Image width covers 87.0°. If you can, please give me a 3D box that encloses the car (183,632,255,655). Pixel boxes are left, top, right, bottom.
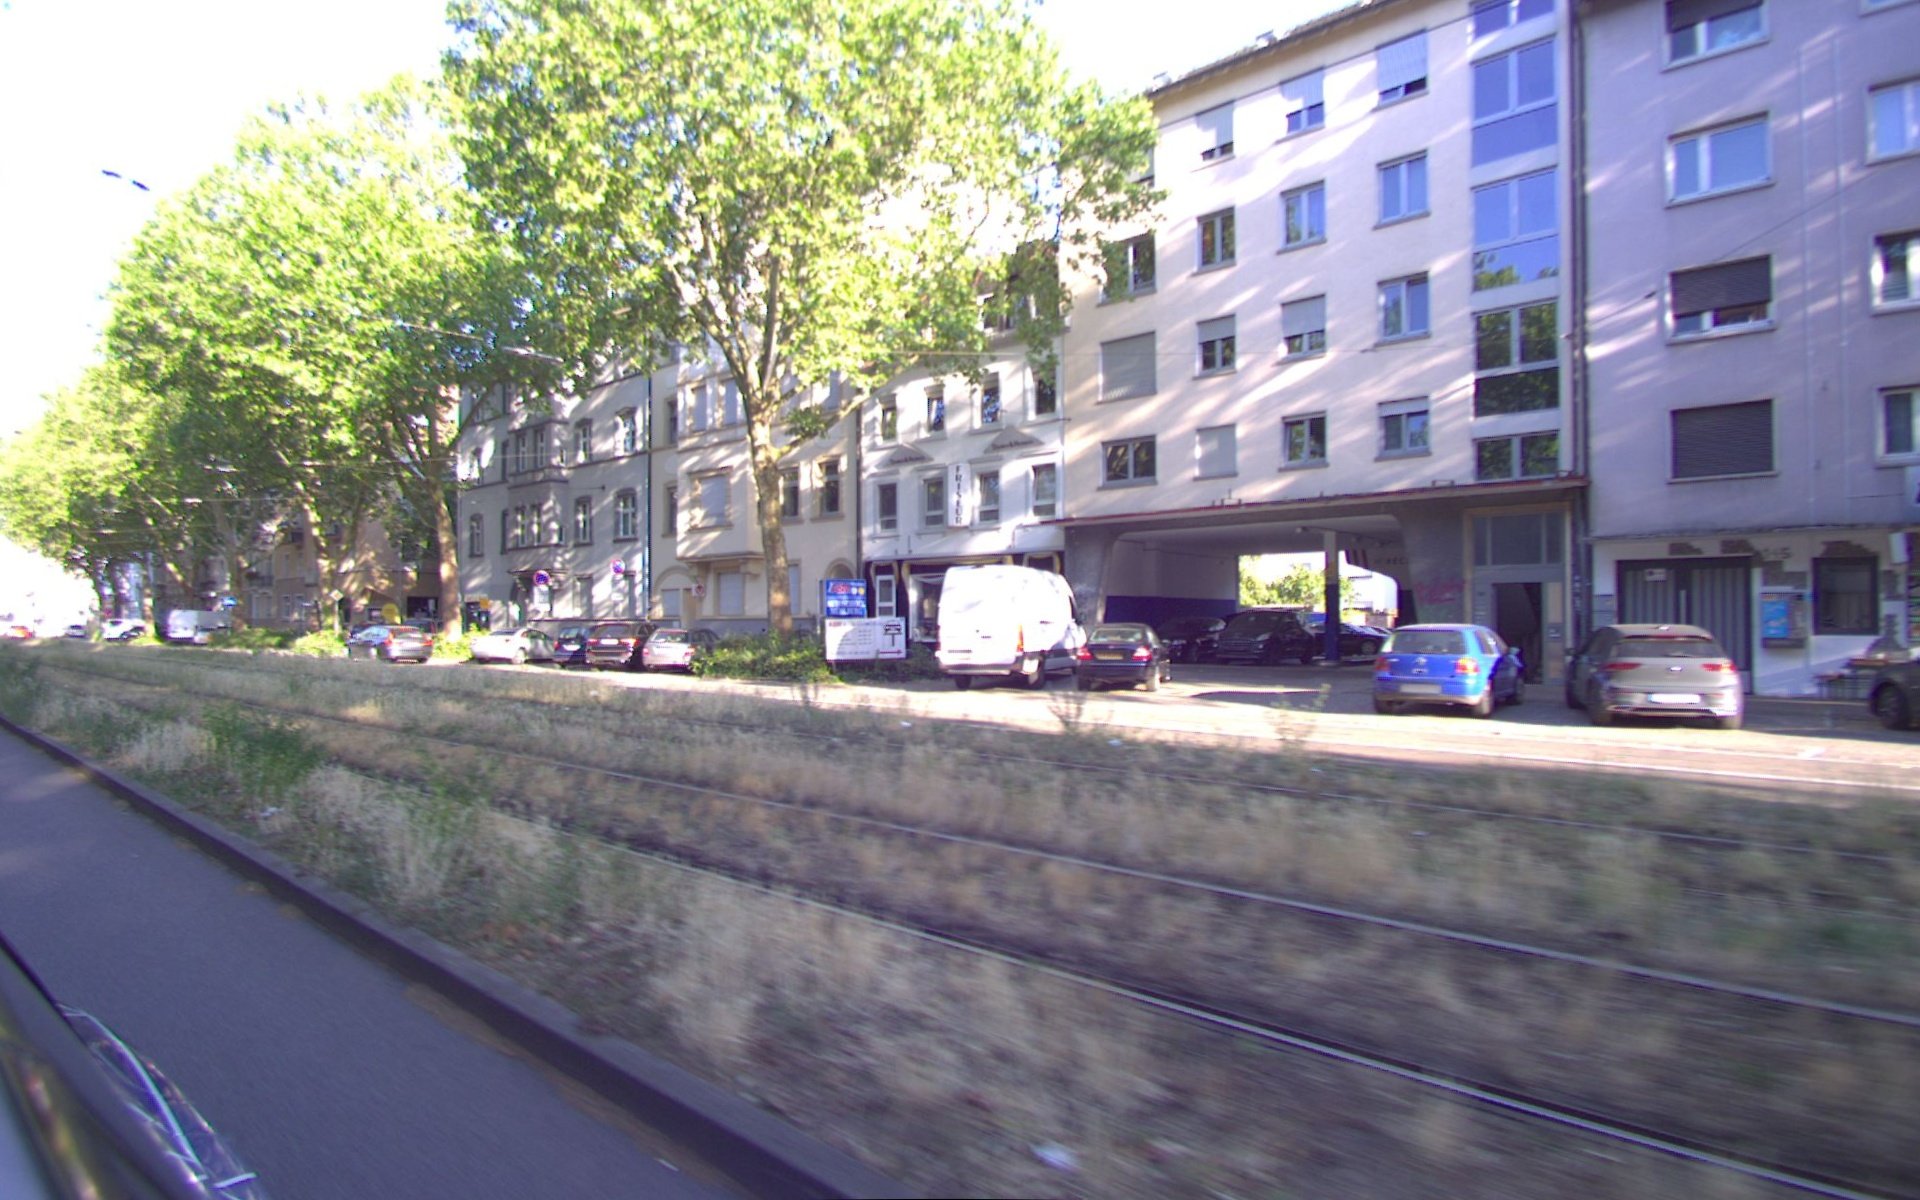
[{"bbox_3d":[-51.011,2.968,69.796,1.710,1.256,3.992,-2,2,7],"label":"car"}]

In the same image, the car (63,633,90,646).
[{"bbox_3d":[-105.962,4.720,121.372,4.001,1.430,1.972,-1,1,44],"label":"car"}]

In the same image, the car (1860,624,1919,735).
[{"bbox_3d":[13.585,1.095,12.472,1.735,1.433,3.992,-2,1,7],"label":"car"}]

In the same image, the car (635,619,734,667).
[{"bbox_3d":[-8.533,1.321,31.681,1.779,1.368,4.001,-1,-2,4],"label":"car"}]

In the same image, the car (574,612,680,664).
[{"bbox_3d":[-11.022,1.287,33.830,1.912,1.605,4.154,-1,-3,5],"label":"car"}]

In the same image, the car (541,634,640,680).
[{"bbox_3d":[-13.176,2.032,36.364,1.803,1.545,3.993,-1,-2,5],"label":"car"}]

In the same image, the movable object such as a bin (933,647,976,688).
[{"bbox_3d":[-0.146,1.741,26.221,0.865,1.030,0.734,-1,-1,29],"label":"movable object such as a bin"}]

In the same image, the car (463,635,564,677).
[{"bbox_3d":[-17.003,2.109,38.703,1.806,1.400,3.669,-1,-1,10],"label":"car"}]

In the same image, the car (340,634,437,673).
[{"bbox_3d":[-21.937,2.023,38.766,4.481,1.400,1.801,-1,-3,41],"label":"car"}]

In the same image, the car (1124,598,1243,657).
[{"bbox_3d":[6.973,0.801,31.364,1.998,1.553,3.948,-1,1,39],"label":"car"}]

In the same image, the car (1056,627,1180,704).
[{"bbox_3d":[3.554,1.362,22.235,1.985,1.502,3.974,-1,-1,19],"label":"car"}]

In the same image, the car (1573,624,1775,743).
[{"bbox_3d":[10.564,1.131,15.284,1.942,1.503,3.962,-1,-1,28],"label":"car"}]

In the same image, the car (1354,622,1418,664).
[{"bbox_3d":[16.731,1.656,39.647,1.693,1.567,3.269,-1,-2,34],"label":"car"}]

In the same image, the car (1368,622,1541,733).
[{"bbox_3d":[8.382,1.177,16.990,1.855,1.431,3.950,-1,1,37],"label":"car"}]

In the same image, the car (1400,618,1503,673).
[{"bbox_3d":[15.360,1.356,31.549,1.998,1.567,3.946,-1,-1,40],"label":"car"}]

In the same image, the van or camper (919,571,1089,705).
[{"bbox_3d":[1.205,0.797,23.389,2.163,2.666,5.927,-1,-1,21],"label":"van or camper"}]

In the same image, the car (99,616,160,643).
[{"bbox_3d":[-71.872,2.536,87.634,1.971,2.028,4.001,-2,1,-1],"label":"car"}]

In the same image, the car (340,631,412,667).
[{"bbox_3d":[-28.690,2.370,49.839,1.703,1.666,4.007,-1,-1,-9],"label":"car"}]

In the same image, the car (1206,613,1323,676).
[{"bbox_3d":[9.020,1.241,29.766,1.904,1.733,3.946,-1,-1,40],"label":"car"}]

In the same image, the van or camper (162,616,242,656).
[{"bbox_3d":[-53.105,2.502,71.019,2.171,2.418,4.363,-2,2,1],"label":"van or camper"}]
